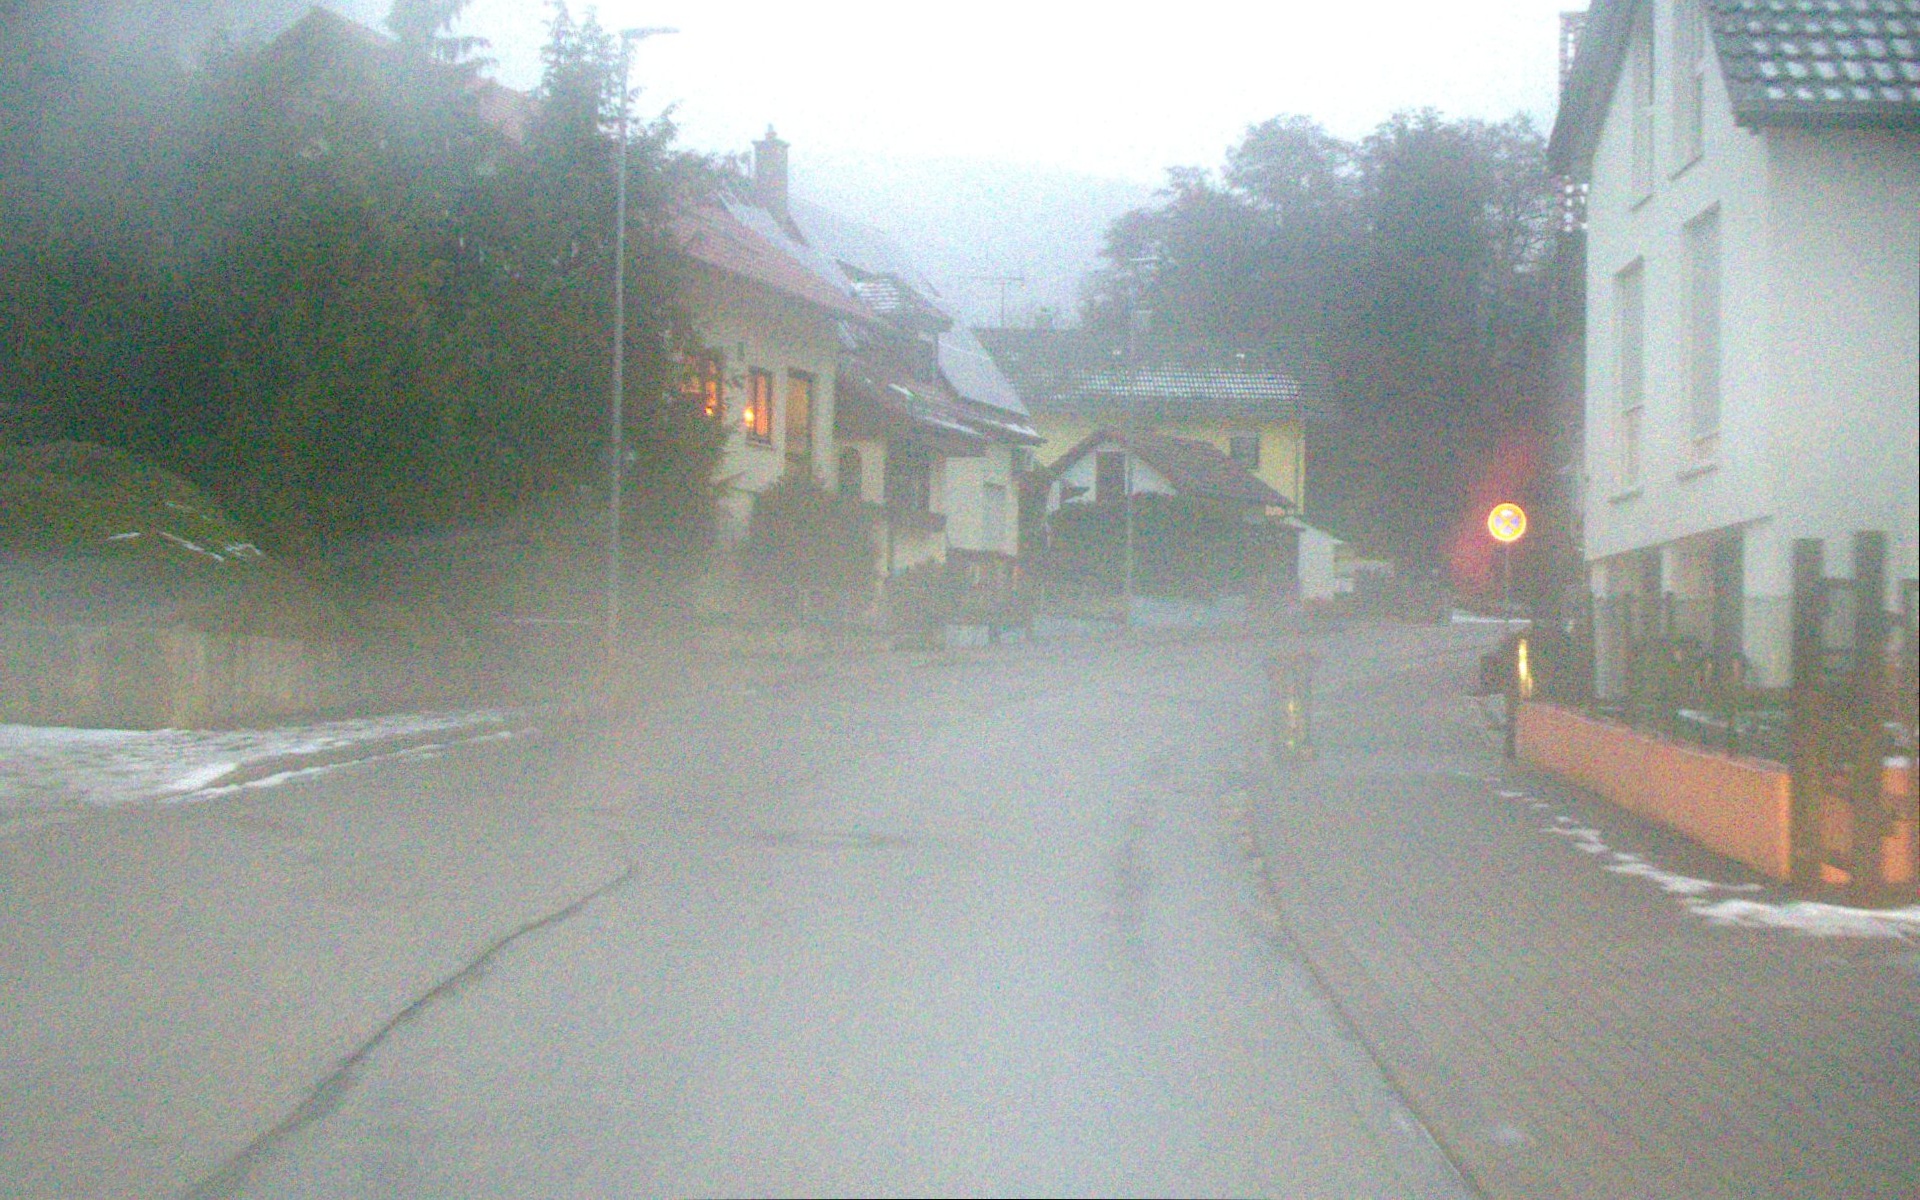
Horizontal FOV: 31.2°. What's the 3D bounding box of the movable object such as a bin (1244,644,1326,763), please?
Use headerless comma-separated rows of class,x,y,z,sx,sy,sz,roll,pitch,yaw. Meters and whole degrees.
movable object such as a bin,2.678,0.849,28.259,0.614,0.943,0.594,-3,-1,7
